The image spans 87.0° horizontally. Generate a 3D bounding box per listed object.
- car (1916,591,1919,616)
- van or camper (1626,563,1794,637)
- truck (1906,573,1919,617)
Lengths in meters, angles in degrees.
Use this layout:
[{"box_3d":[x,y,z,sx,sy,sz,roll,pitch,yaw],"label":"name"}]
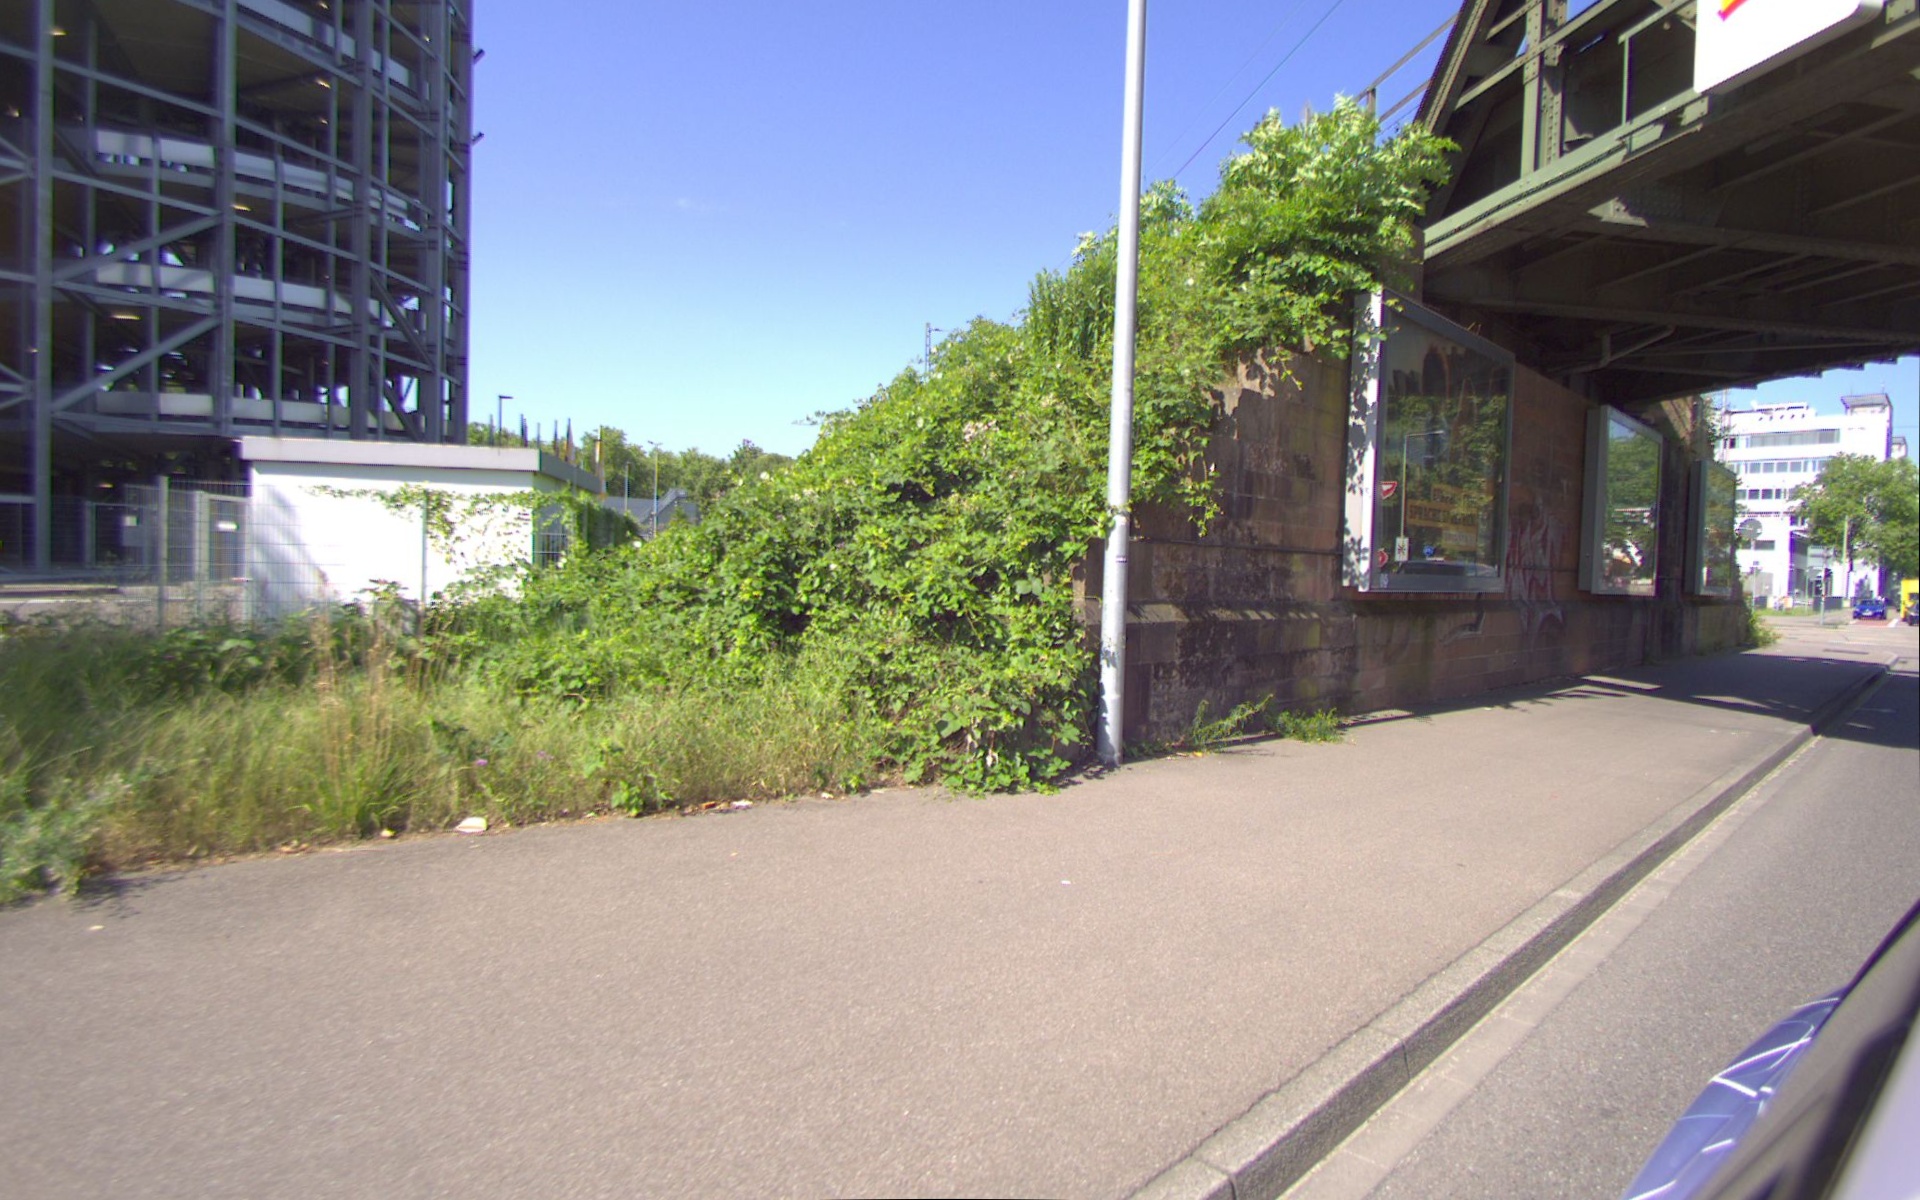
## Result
[{"box_3d":[56.409,0.232,58.302,1.818,1.371,3.939,3,3,42],"label":"car"},{"box_3d":[34.288,-0.004,46.426,2.552,3.195,5.777,1,-1,-38],"label":"van or camper"},{"box_3d":[67.162,-0.299,69.890,2.400,2.899,5.719,0,-1,40],"label":"truck"}]
